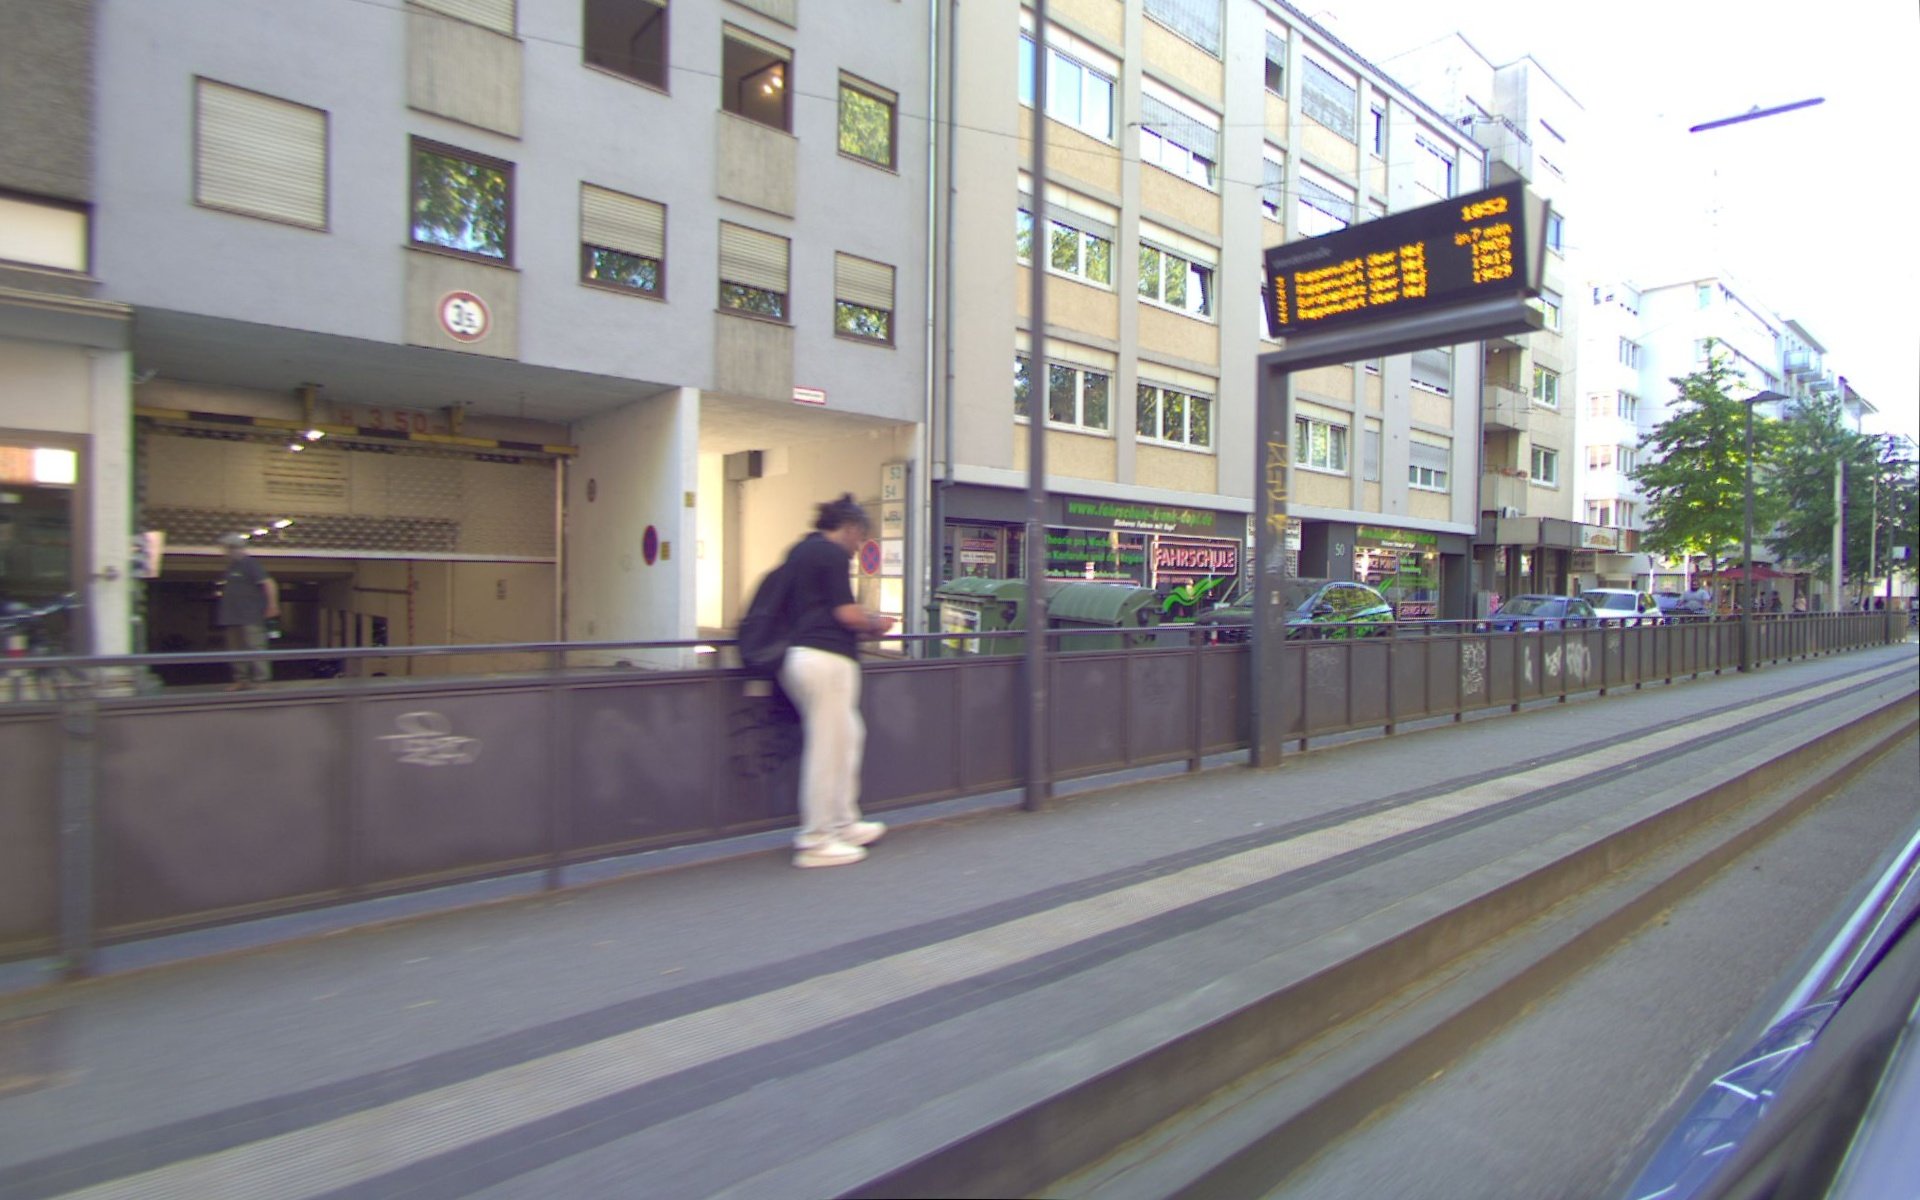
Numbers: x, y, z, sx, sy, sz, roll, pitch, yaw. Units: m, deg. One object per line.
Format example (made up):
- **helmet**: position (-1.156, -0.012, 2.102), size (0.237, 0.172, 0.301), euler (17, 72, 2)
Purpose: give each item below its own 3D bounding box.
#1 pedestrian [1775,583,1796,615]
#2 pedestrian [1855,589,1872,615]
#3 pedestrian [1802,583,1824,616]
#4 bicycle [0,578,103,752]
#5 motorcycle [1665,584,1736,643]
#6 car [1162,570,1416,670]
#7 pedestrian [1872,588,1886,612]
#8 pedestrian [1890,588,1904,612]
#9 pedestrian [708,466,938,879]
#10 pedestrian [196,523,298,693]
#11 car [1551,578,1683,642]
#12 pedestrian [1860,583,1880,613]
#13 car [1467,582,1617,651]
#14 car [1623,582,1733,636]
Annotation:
- **pedestrian**: position (43.807, -0.052, 53.704), size (0.954, 1.675, 0.751), euler (0, 0, -42)
- **pedestrian**: position (58.259, 0.128, 65.255), size (0.954, 1.675, 0.751), euler (0, 0, -42)
- **pedestrian**: position (43.759, -0.035, 51.912), size (0.954, 1.675, 0.751), euler (0, 0, -42)
- **bicycle**: position (-7.763, 0.455, 6.995), size (0.772, 1.194, 2.738), euler (8, 5, 44)
- **motorcycle**: position (19.337, 0.334, 26.411), size (2.170, 1.473, 1.054), euler (-1, 0, -41)
- **car**: position (5.715, 0.283, 17.319), size (4.576, 1.502, 1.958), euler (-1, 0, -39)
- **pedestrian**: position (67.380, -0.006, 74.178), size (0.823, 1.675, 0.684), euler (0, 0, -42)
- **pedestrian**: position (68.047, -0.003, 73.493), size (0.823, 1.675, 0.684), euler (0, 0, -42)
- **pedestrian**: position (-0.608, 0.274, 4.369), size (0.836, 1.596, 0.650), euler (0, 0, -23)
- **pedestrian**: position (-7.993, 0.074, 11.381), size (0.666, 1.827, 0.775), euler (-1, 1, -13)
- **car**: position (17.844, 0.228, 27.431), size (3.930, 1.601, 1.997), euler (-1, 0, -41)
- **pedestrian**: position (51.302, -0.124, 57.077), size (0.954, 1.675, 0.751), euler (0, 0, -42)
- **car**: position (13.842, 0.330, 23.996), size (3.930, 1.505, 1.897), euler (-1, 0, -41)
- **car**: position (22.897, 0.231, 32.245), size (3.930, 1.612, 1.997), euler (-1, 0, -41)
